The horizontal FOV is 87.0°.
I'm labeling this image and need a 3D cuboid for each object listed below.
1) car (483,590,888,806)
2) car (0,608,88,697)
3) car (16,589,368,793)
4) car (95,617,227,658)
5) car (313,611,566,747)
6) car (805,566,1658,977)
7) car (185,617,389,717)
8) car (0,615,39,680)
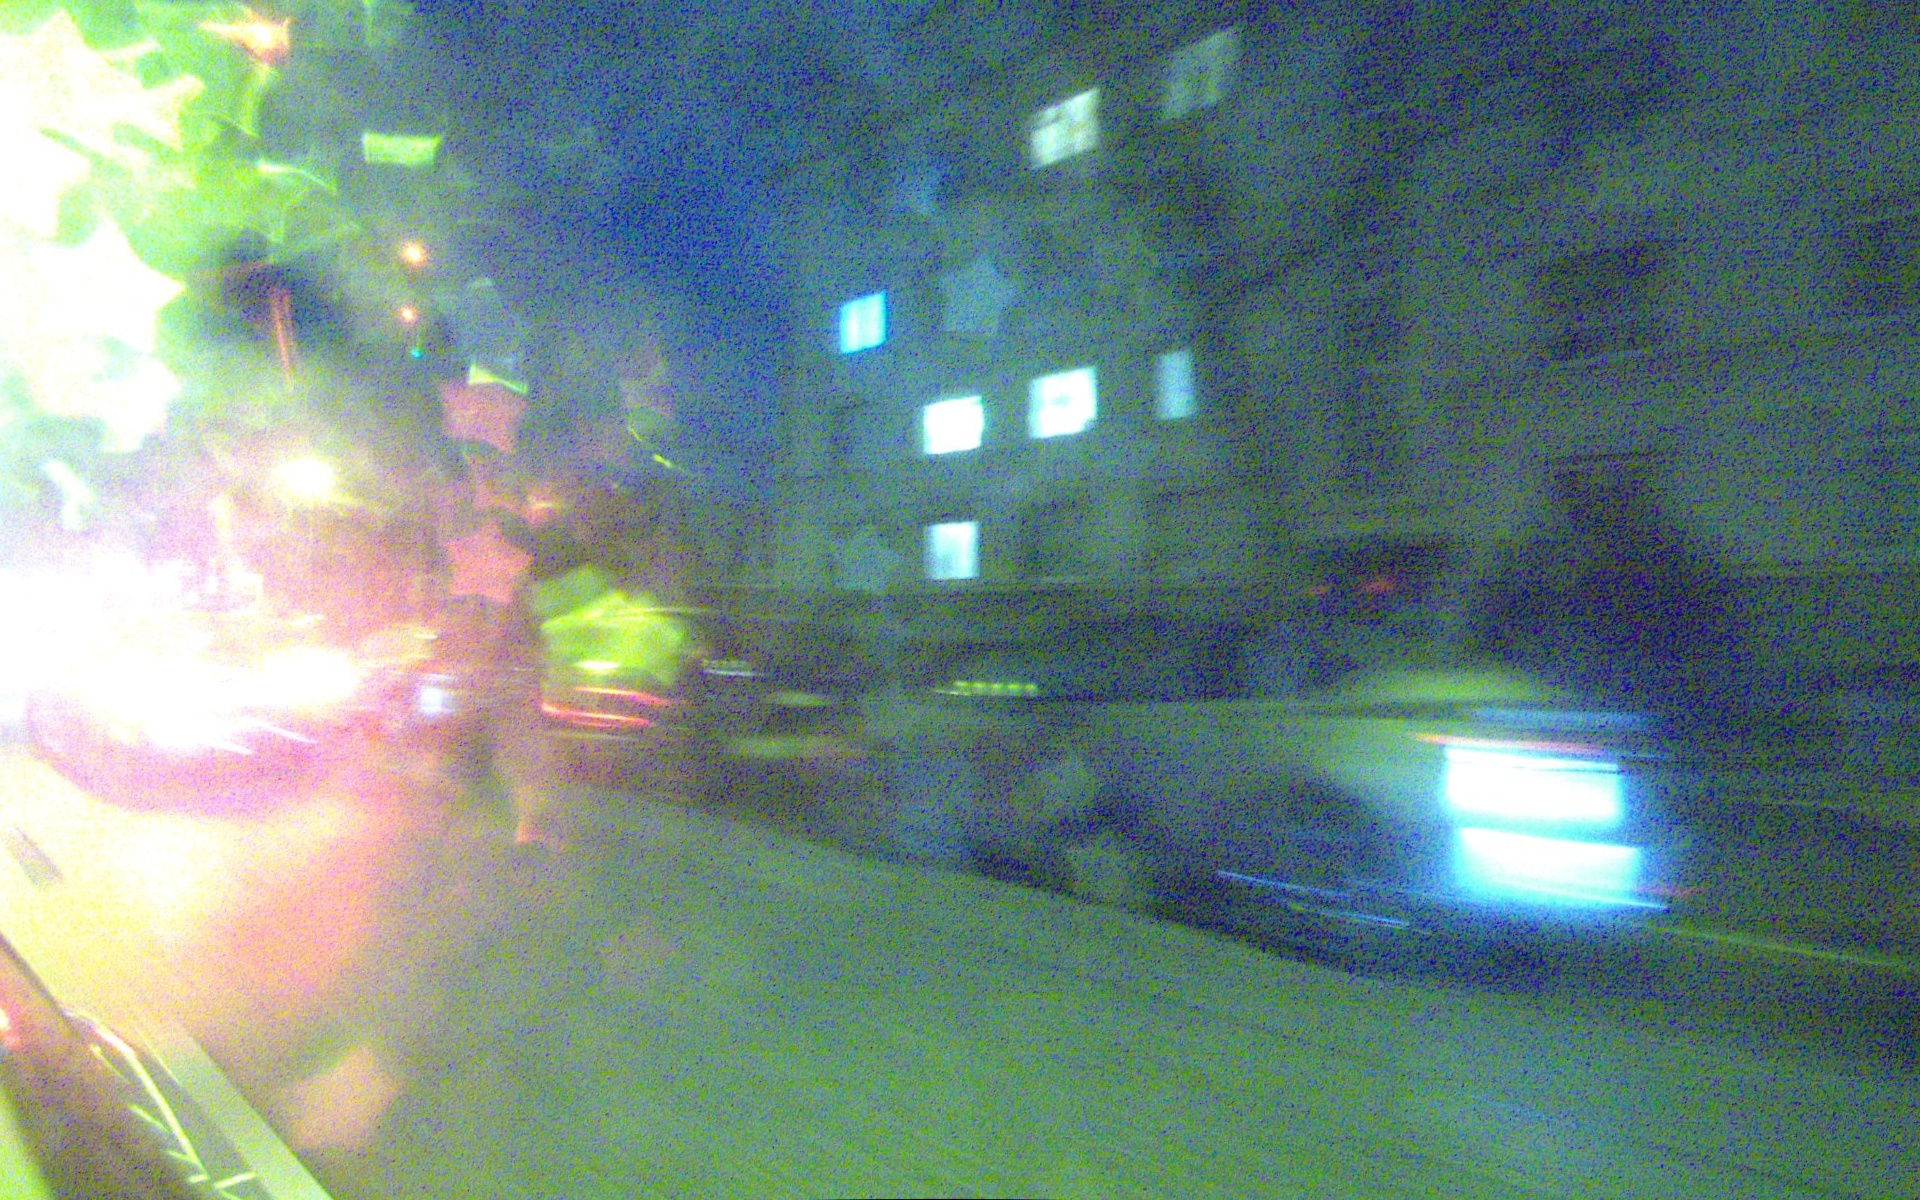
[{"bbox_3d":[-2.658,0.804,9.340,3.960,1.585,1.607,-1,-5,41],"label":"car"},{"bbox_3d":[-18.876,1.018,20.055,4.548,1.609,1.865,-2,-4,43],"label":"car"},{"bbox_3d":[-7.813,0.772,10.107,4.682,1.560,2.017,-2,-2,43],"label":"car"},{"bbox_3d":[-35.861,1.705,45.603,4.472,1.719,1.855,3,-4,-34],"label":"car"},{"bbox_3d":[-6.788,0.951,13.031,3.963,1.484,1.606,-2,-4,43],"label":"car"},{"bbox_3d":[1.223,0.712,5.811,4.394,1.484,1.776,-2,-4,42],"label":"car"},{"bbox_3d":[-11.509,1.093,17.180,4.544,1.484,1.607,-2,-4,40],"label":"car"},{"bbox_3d":[-28.911,1.393,30.077,4.548,1.839,1.824,-2,-4,43],"label":"car"}]
